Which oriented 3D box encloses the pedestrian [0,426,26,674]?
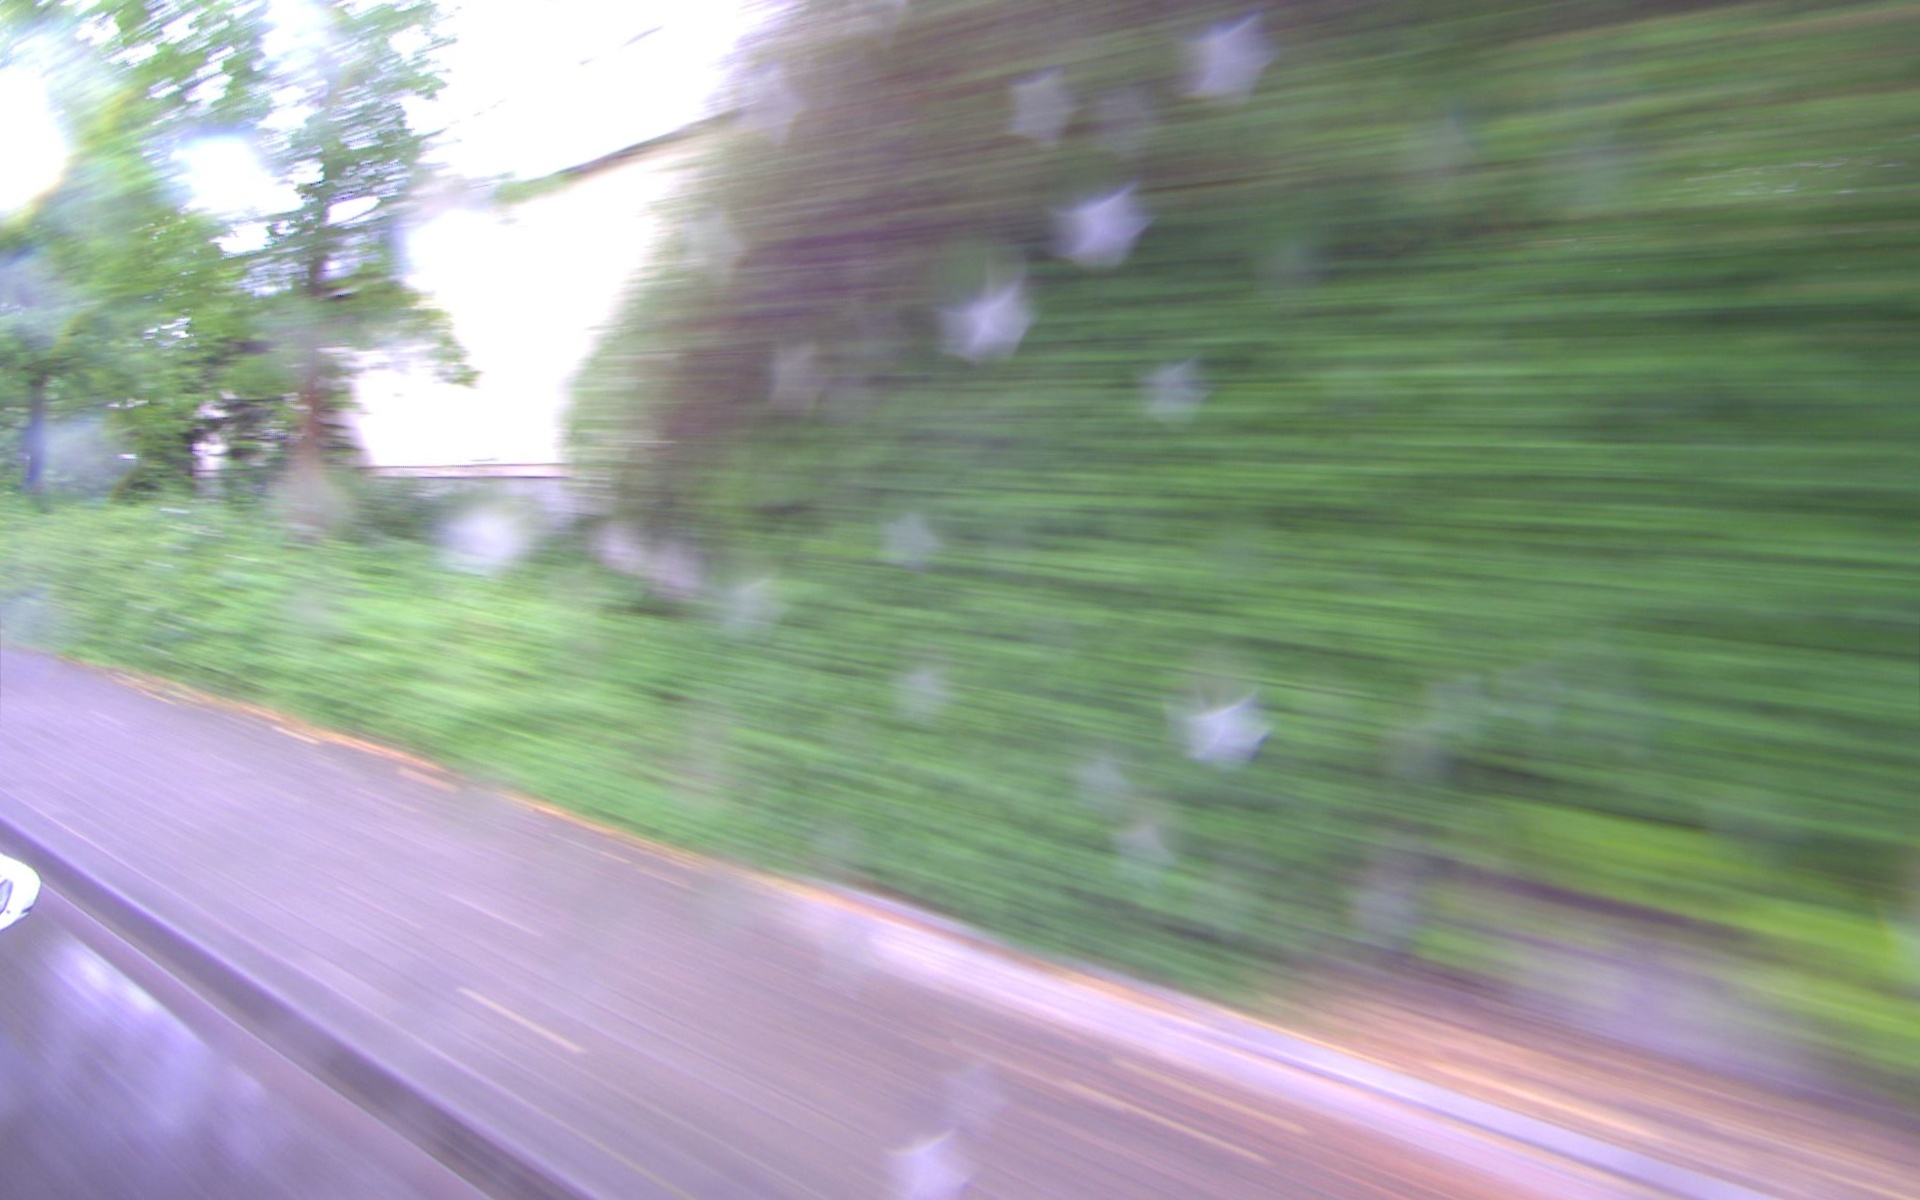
[{"bbox_3d":[-7.705,-0.424,7.531,0.875,1.862,0.745,7,2,32],"label":"pedestrian"}]
